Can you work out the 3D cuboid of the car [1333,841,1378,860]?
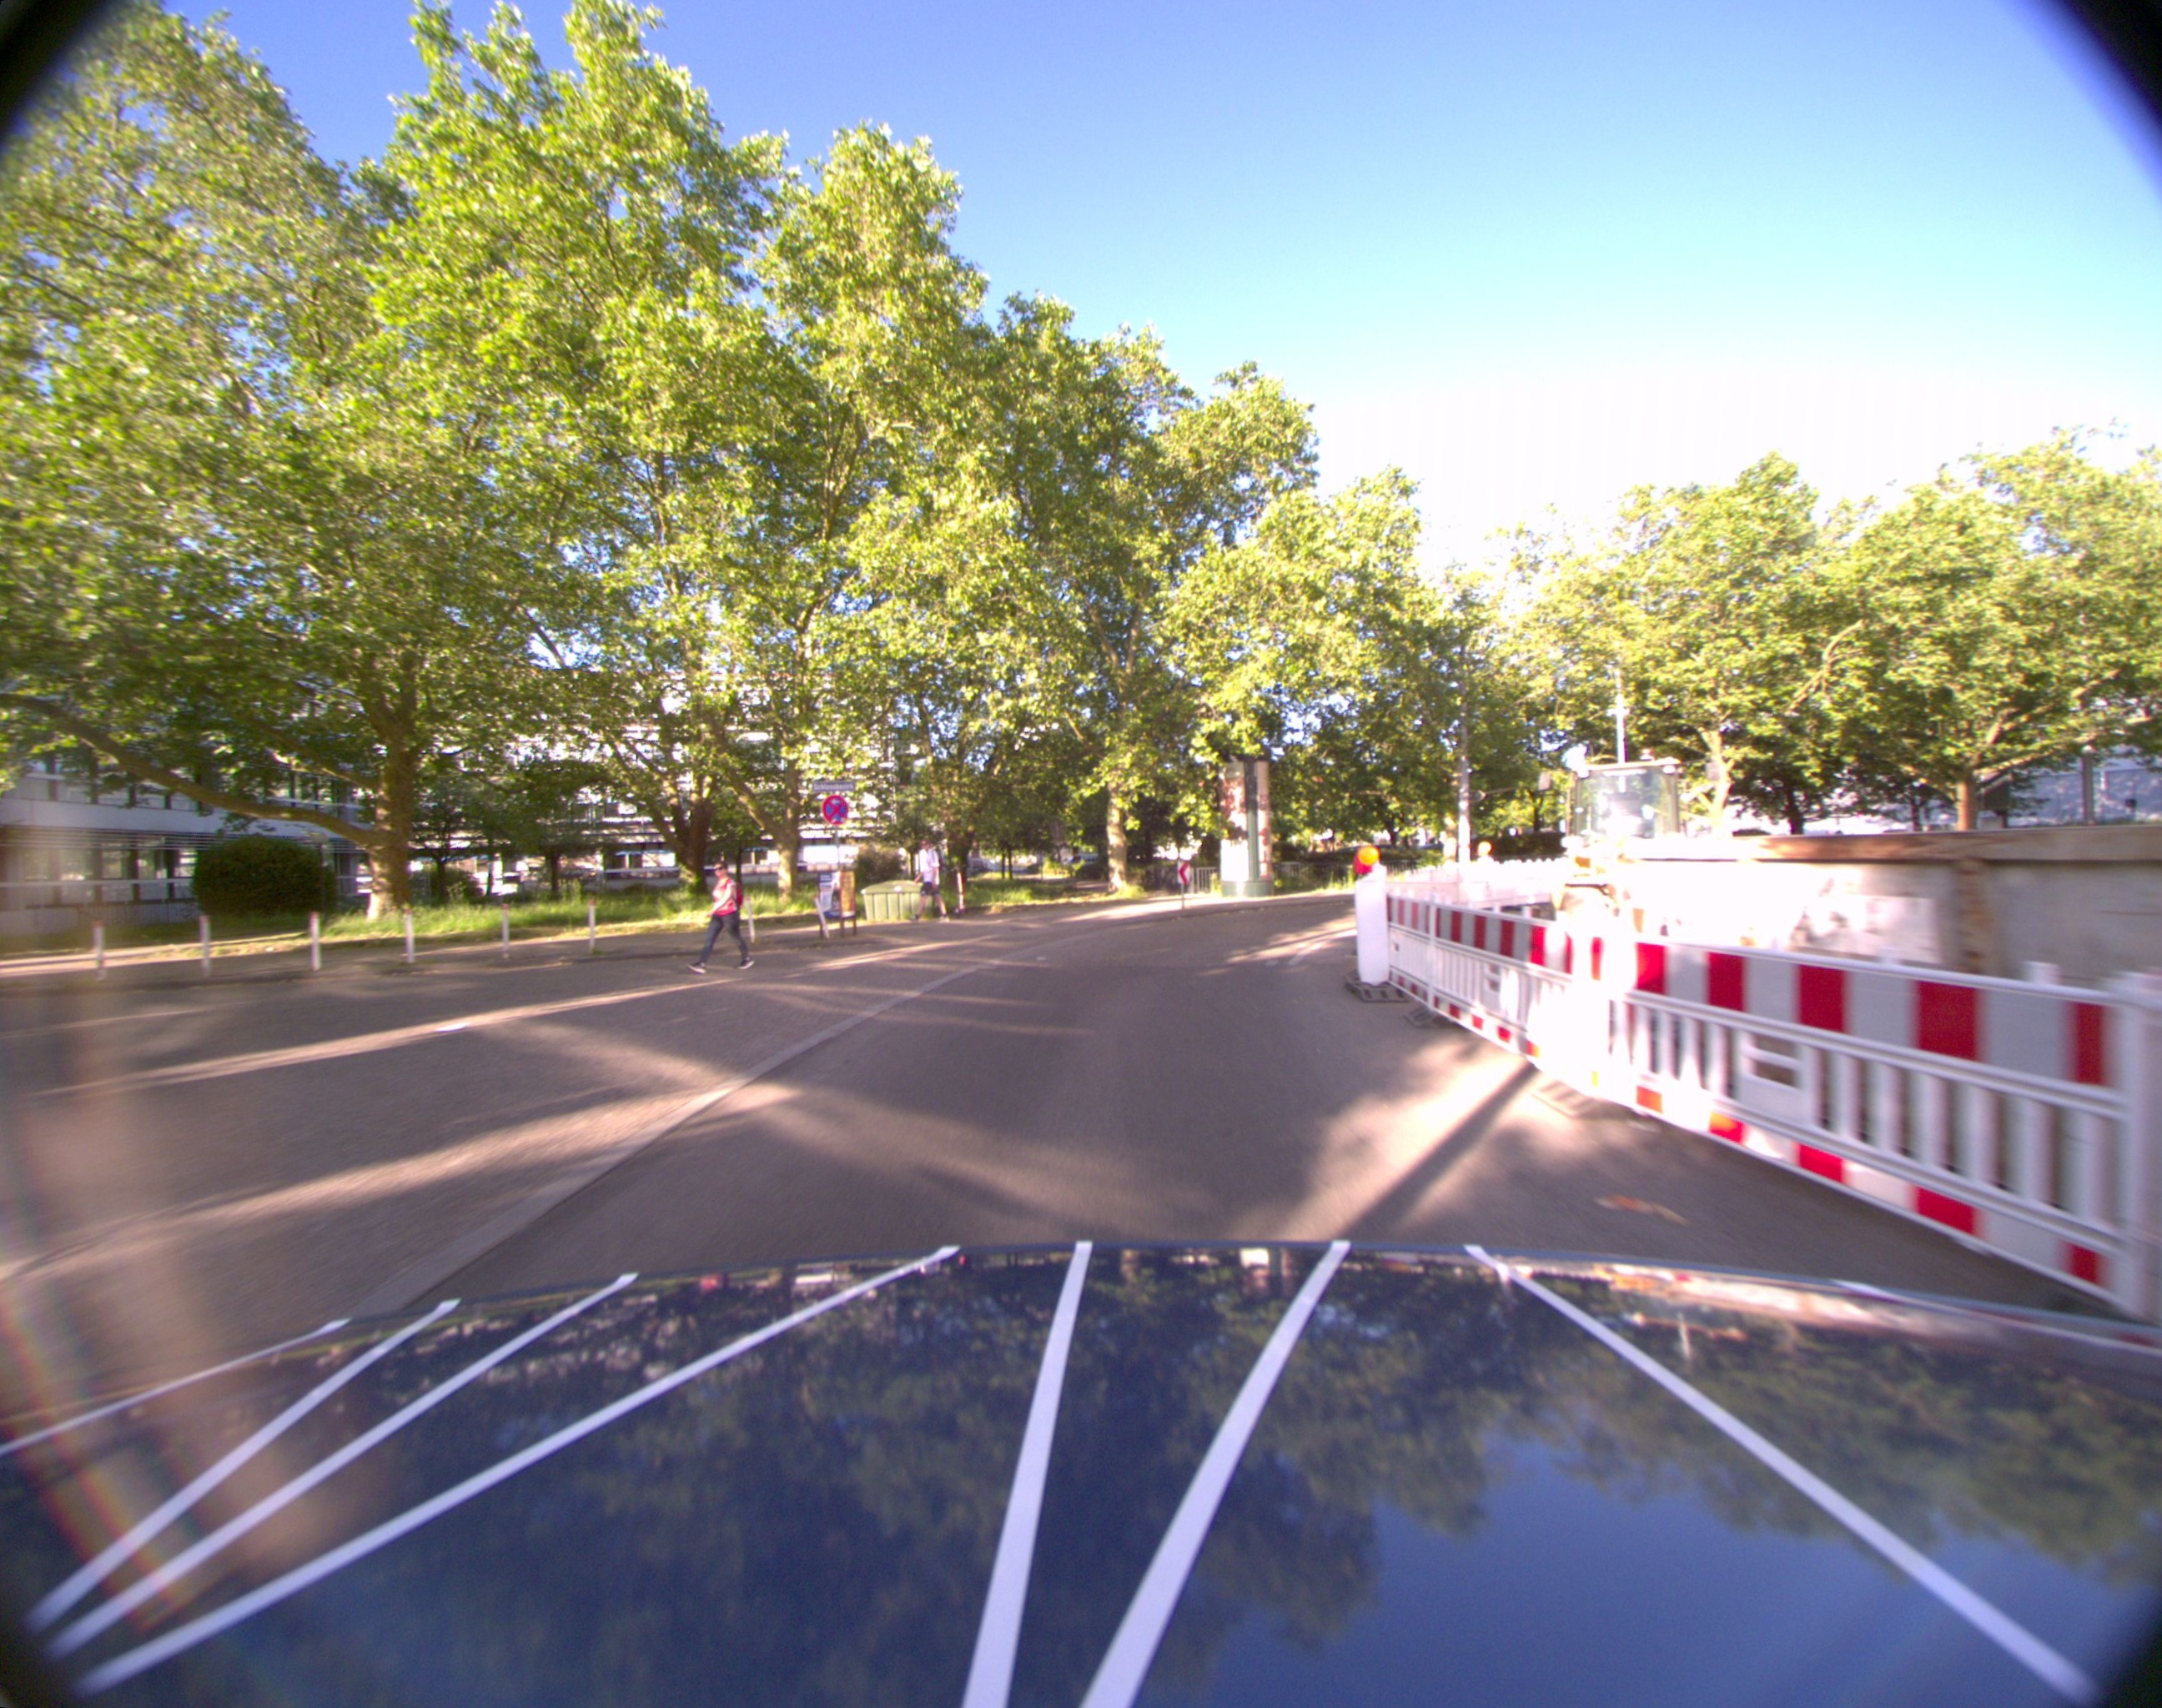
[{"bbox_3d":[29.235,-0.354,80.881,4.046,1.935,1.922,-2,-1,-13],"label":"car"}]

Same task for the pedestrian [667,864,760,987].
[{"bbox_3d":[-5.189,0.968,10.735,0.941,1.614,0.708,-3,1,-43],"label":"pedestrian"}]

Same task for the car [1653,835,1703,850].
[{"bbox_3d":[61.414,-1.147,78.276,1.631,1.476,3.846,-2,0,-13],"label":"car"}]

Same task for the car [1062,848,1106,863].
[{"bbox_3d":[0.299,0.163,86.216,4.658,1.466,2.013,-2,-1,-11],"label":"car"}]

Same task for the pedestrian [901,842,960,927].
[{"bbox_3d":[-3.360,0.677,16.905,1.134,1.802,0.746,-2,-1,-18],"label":"pedestrian"}]

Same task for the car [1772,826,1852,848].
[{"bbox_3d":[64.831,-1.453,67.459,2.110,1.818,4.714,-2,0,-13],"label":"car"}]

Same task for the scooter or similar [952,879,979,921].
[{"bbox_3d":[-2.780,1.085,18.218,0.420,0.909,1.148,-3,2,-19],"label":"scooter or similar"}]

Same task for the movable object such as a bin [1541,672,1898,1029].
[{"bbox_3d":[7.413,-0.084,9.612,2.560,3.014,5.942,-1,1,33],"label":"movable object such as a bin"}]

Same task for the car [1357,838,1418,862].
[{"bbox_3d":[22.690,-0.268,56.301,4.001,1.616,1.552,-2,-1,-11],"label":"car"}]
